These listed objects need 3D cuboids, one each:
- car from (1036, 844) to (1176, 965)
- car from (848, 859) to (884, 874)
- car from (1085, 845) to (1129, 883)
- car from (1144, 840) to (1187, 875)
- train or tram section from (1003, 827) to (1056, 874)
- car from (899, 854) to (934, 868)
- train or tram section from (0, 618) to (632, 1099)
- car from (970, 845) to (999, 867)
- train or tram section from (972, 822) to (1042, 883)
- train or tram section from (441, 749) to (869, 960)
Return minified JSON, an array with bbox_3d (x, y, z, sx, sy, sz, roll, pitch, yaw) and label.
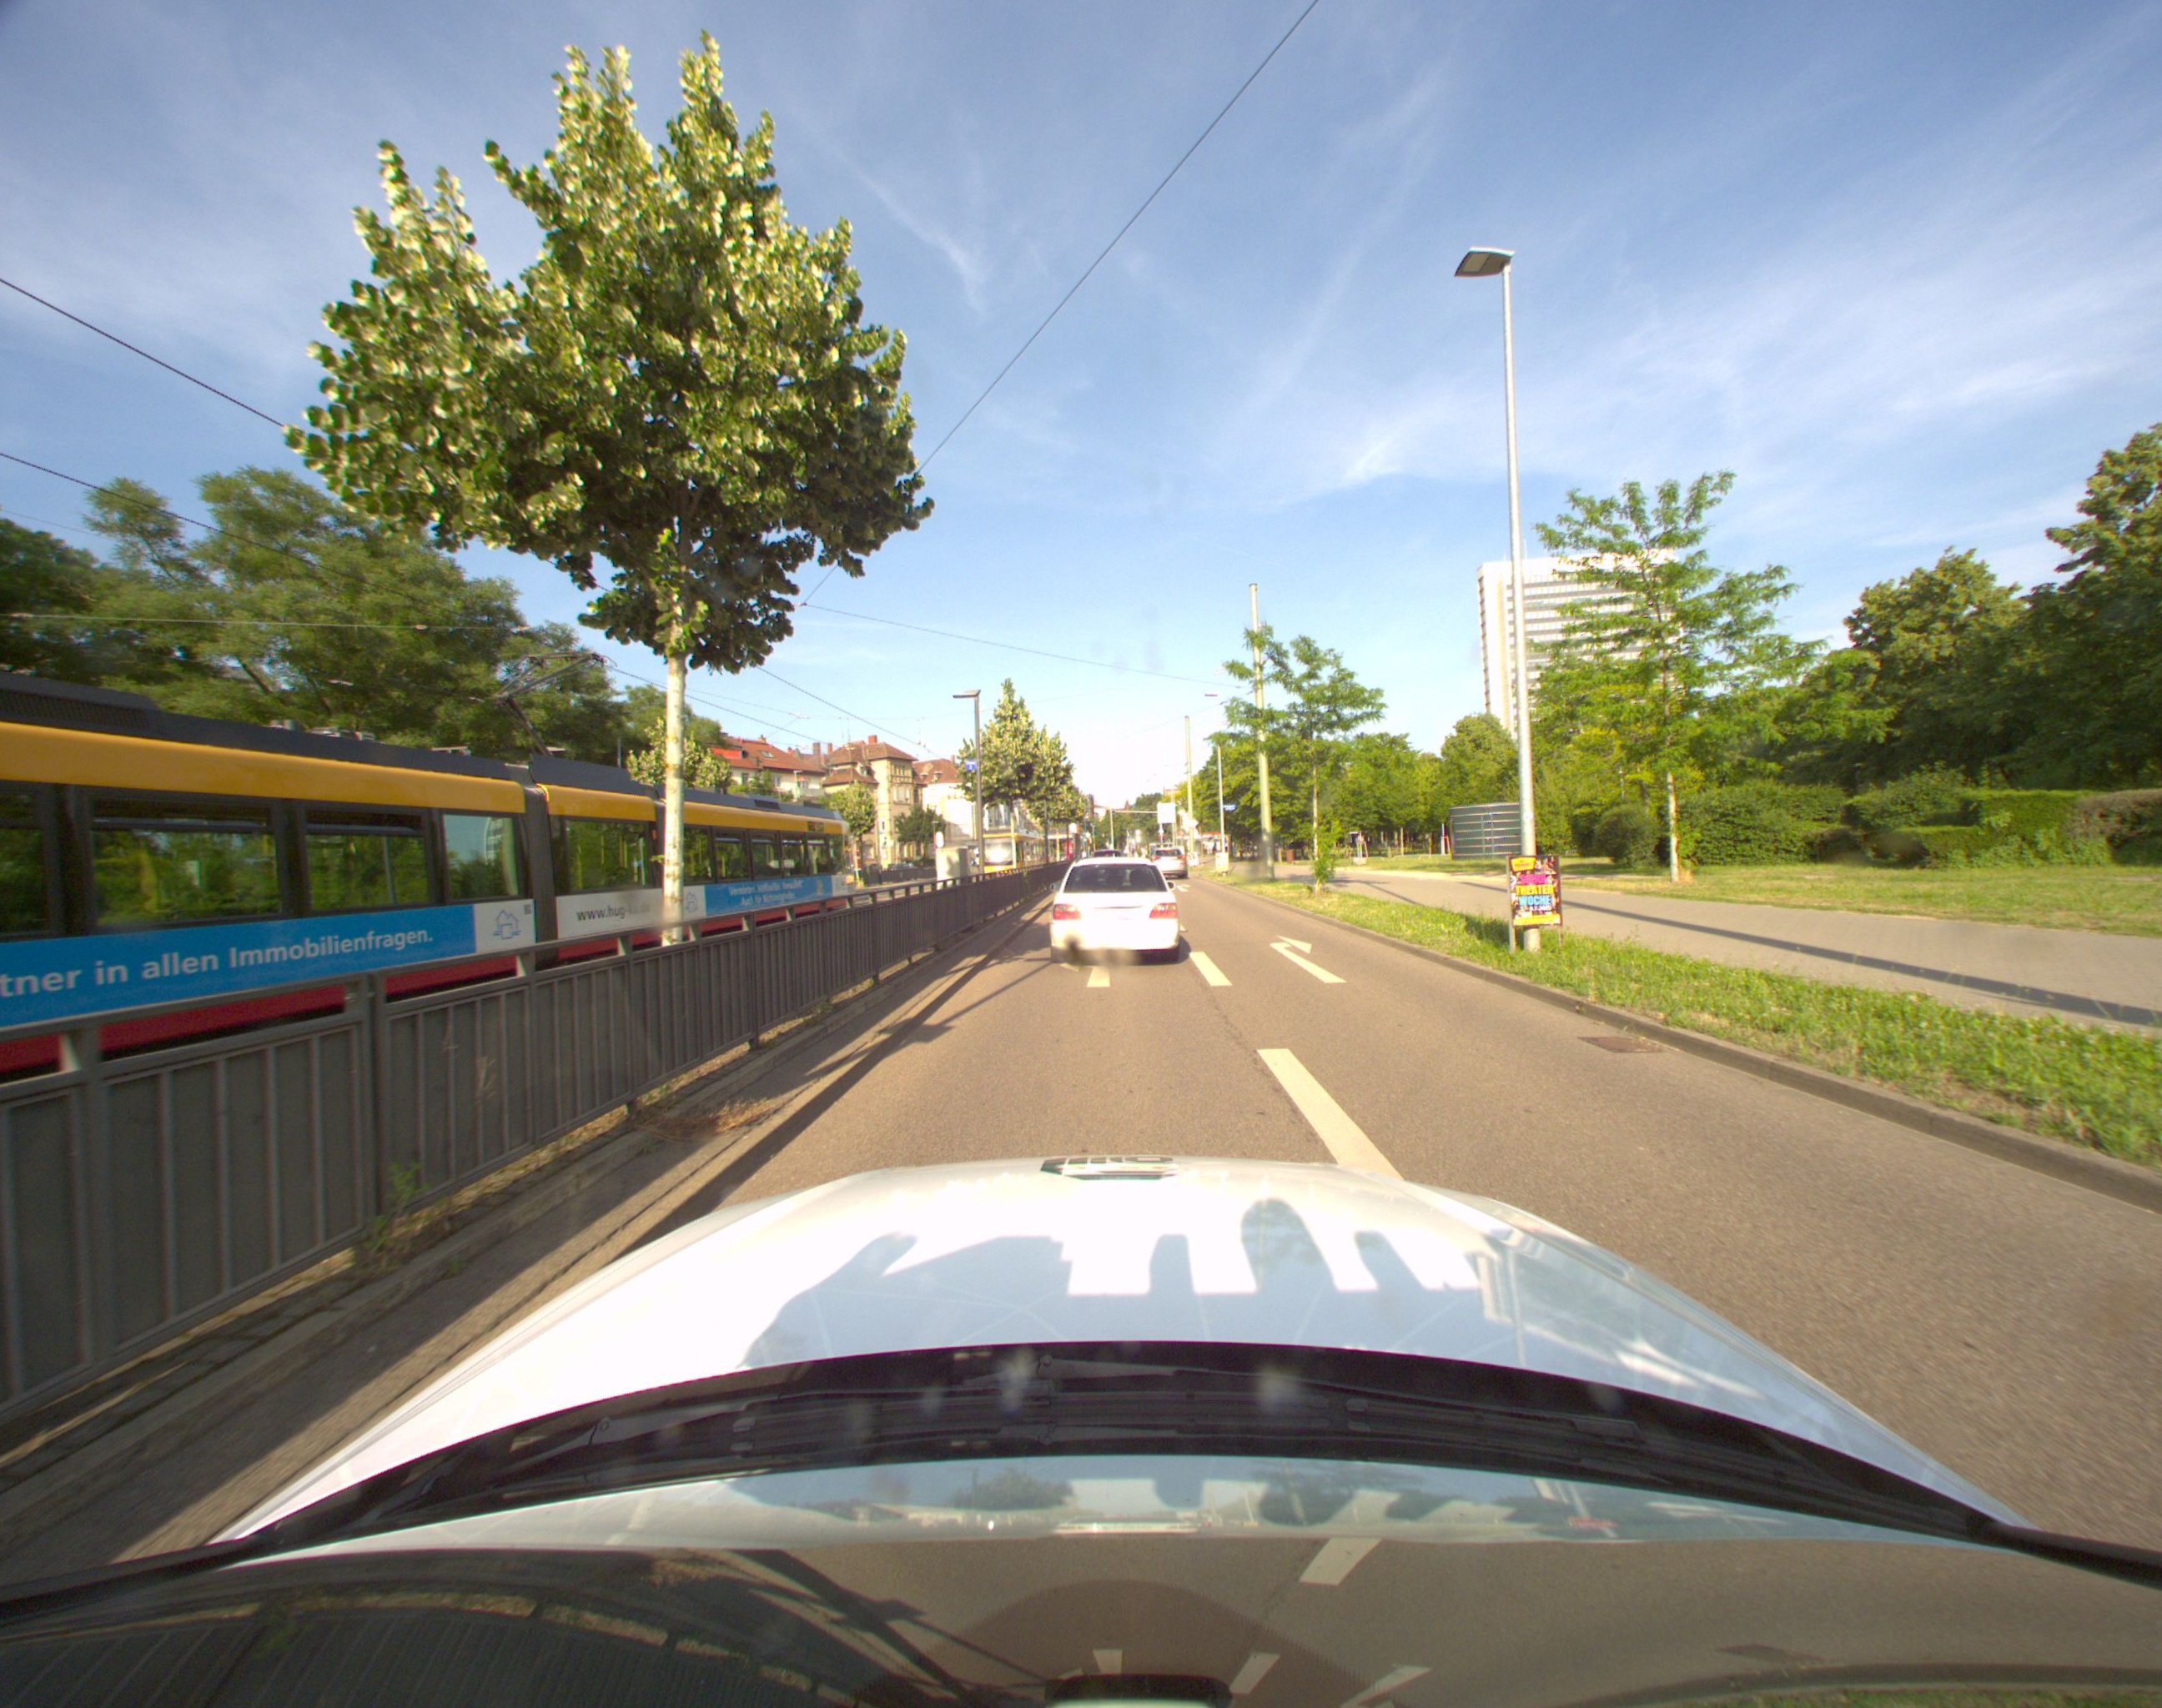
[{"bbox_3d":[0.505,0.702,12.295,1.749,1.504,4.006,-1,-2,6],"label":"car"},{"bbox_3d":[-27.024,1.606,102.415,3.954,1.750,2.010,-2,0,20],"label":"car"},{"bbox_3d":[1.321,0.456,40.019,1.778,1.689,4.008,-2,0,7],"label":"car"},{"bbox_3d":[4.303,0.139,41.436,2.022,1.605,4.007,-2,0,6],"label":"car"},{"bbox_3d":[-4.086,-0.329,67.509,2.838,3.479,13.208,-2,0,3],"label":"train or tram section"},{"bbox_3d":[-22.418,0.949,111.000,2.183,1.628,4.744,-2,0,25],"label":"car"},{"bbox_3d":[-9.376,0.072,6.543,3.151,3.479,14.535,-2,0,1],"label":"train or tram section"},{"bbox_3d":[-12.783,0.251,108.588,2.587,2.735,7.471,-2,0,2],"label":"car"},{"bbox_3d":[-4.656,-0.167,54.543,2.838,3.479,13.209,-1,1,3],"label":"train or tram section"},{"bbox_3d":[-9.115,-0.062,21.072,3.151,3.479,14.474,-2,0,1],"label":"train or tram section"}]
